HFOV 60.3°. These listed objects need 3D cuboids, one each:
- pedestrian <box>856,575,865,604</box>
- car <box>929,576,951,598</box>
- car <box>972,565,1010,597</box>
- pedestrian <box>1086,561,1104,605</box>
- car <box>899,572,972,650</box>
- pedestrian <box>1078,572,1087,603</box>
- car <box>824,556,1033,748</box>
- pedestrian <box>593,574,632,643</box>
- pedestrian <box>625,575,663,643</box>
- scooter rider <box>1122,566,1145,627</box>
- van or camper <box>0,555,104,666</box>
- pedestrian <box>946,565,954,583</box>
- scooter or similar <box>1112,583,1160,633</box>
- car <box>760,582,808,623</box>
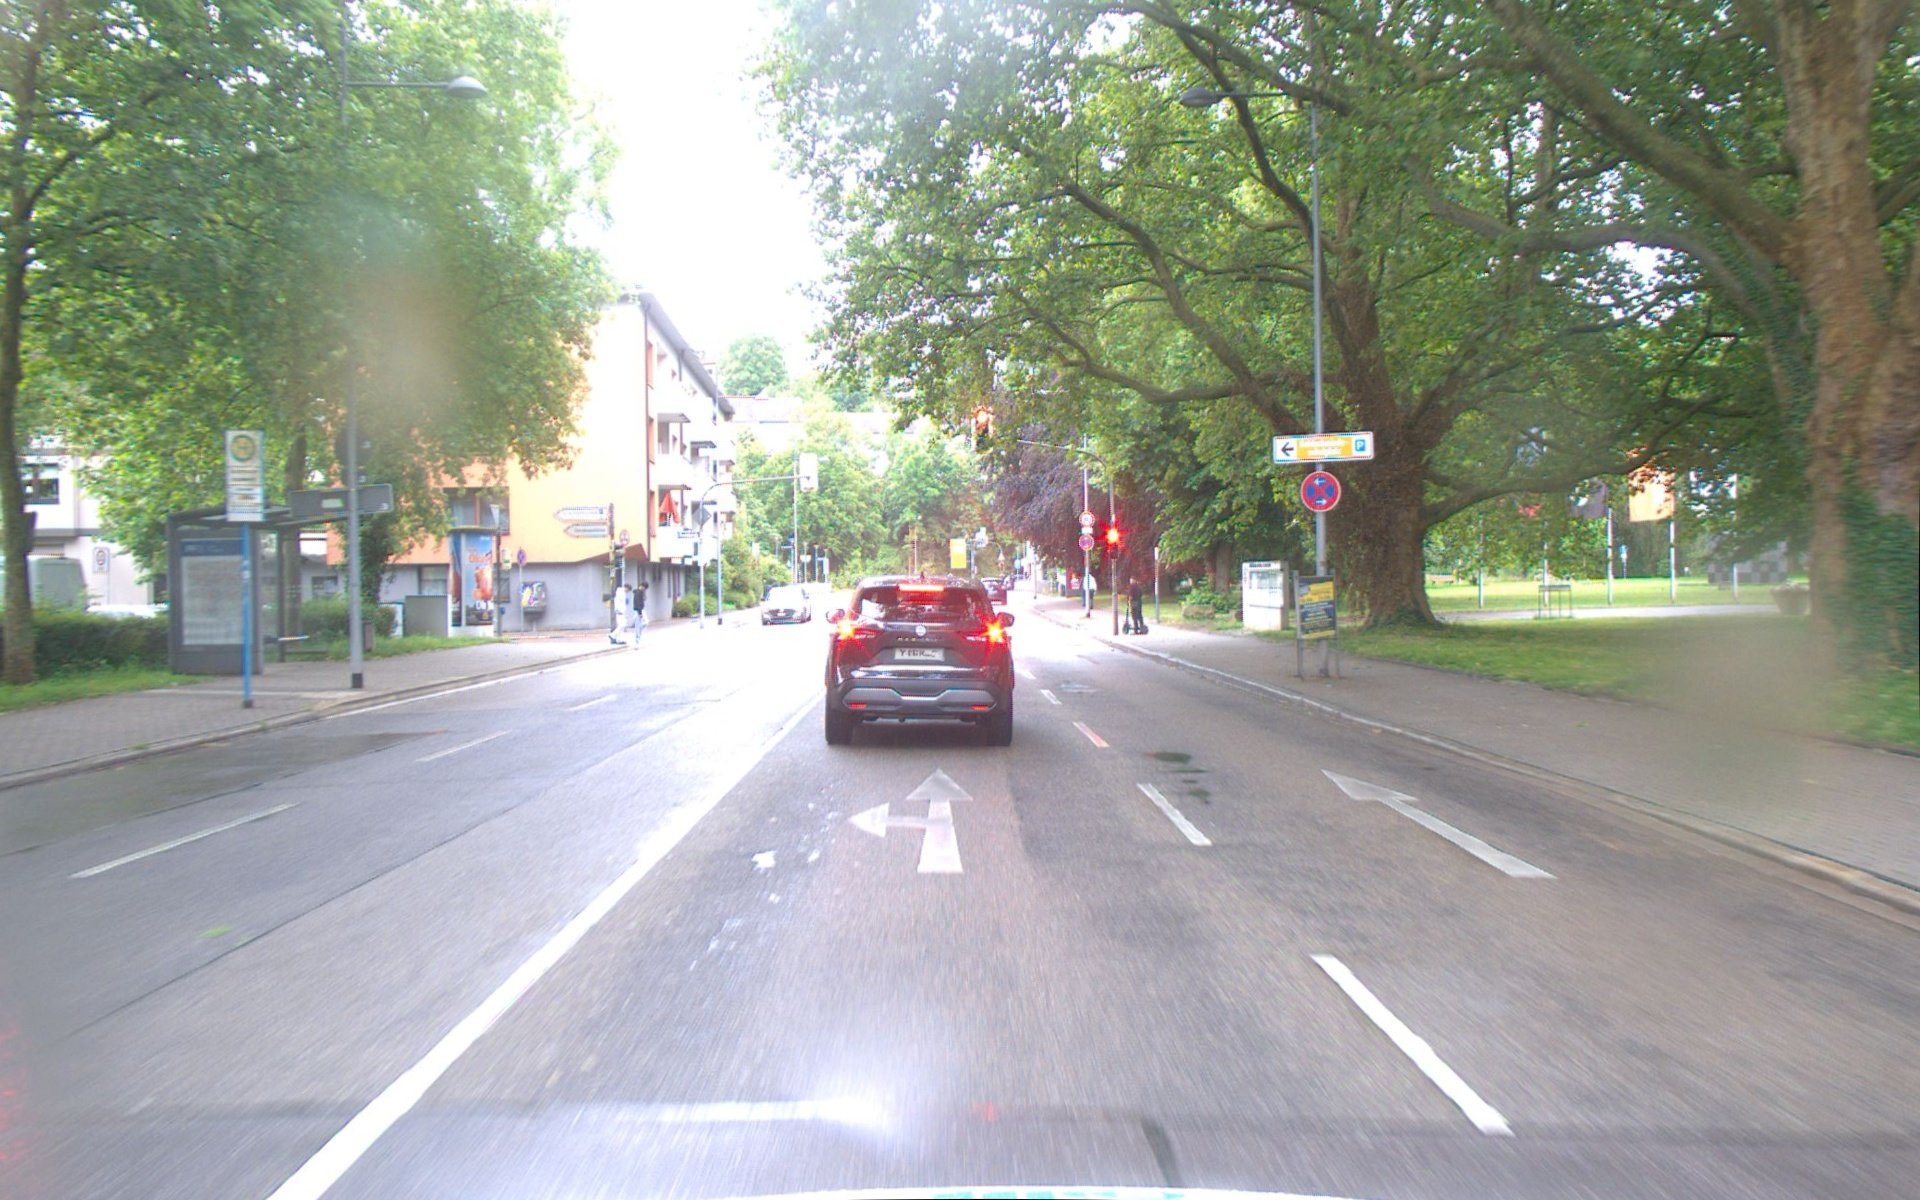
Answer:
[{"bbox_3d":[-6.341,-0.701,105.732,0.498,1.833,0.619,-1,1,-1],"label":"pedestrian"},{"bbox_3d":[-1.488,-0.995,123.709,1.601,1.559,3.967,-2,1,-1],"label":"car"},{"bbox_3d":[1.798,-1.059,95.323,1.952,1.765,4.002,2,0,4],"label":"car"},{"bbox_3d":[6.368,-0.812,77.941,0.710,2.049,0.851,-1,0,-1],"label":"pedestrian"},{"bbox_3d":[-0.595,0.223,40.293,1.664,1.776,3.640,-2,1,-1],"label":"car"},{"bbox_3d":[6.114,-0.602,82.340,0.382,1.528,0.559,-1,0,-1],"label":"pedestrian"},{"bbox_3d":[-0.314,0.444,16.976,1.874,1.709,3.999,1,1,-1],"label":"car"},{"bbox_3d":[-9.657,0.239,45.985,1.017,1.909,0.656,1,0,-13],"label":"pedestrian"},{"bbox_3d":[-8.958,0.255,46.814,1.017,1.909,0.656,1,0,-13],"label":"pedestrian"},{"bbox_3d":[5.215,-0.097,49.750,0.629,1.797,0.736,-1,-1,11],"label":"scooter rider"},{"bbox_3d":[-18.566,0.205,30.452,4.504,1.983,1.999,-1,1,-3],"label":"van or camper"},{"bbox_3d":[-0.950,-2.511,161.095,0.498,1.702,0.658,-1,1,27],"label":"pedestrian"},{"bbox_3d":[5.304,0.240,49.746,1.364,1.471,0.818,-1,-1,11],"label":"scooter or similar"},{"bbox_3d":[-7.093,0.083,66.960,1.760,1.560,3.864,-2,1,-5],"label":"car"}]
